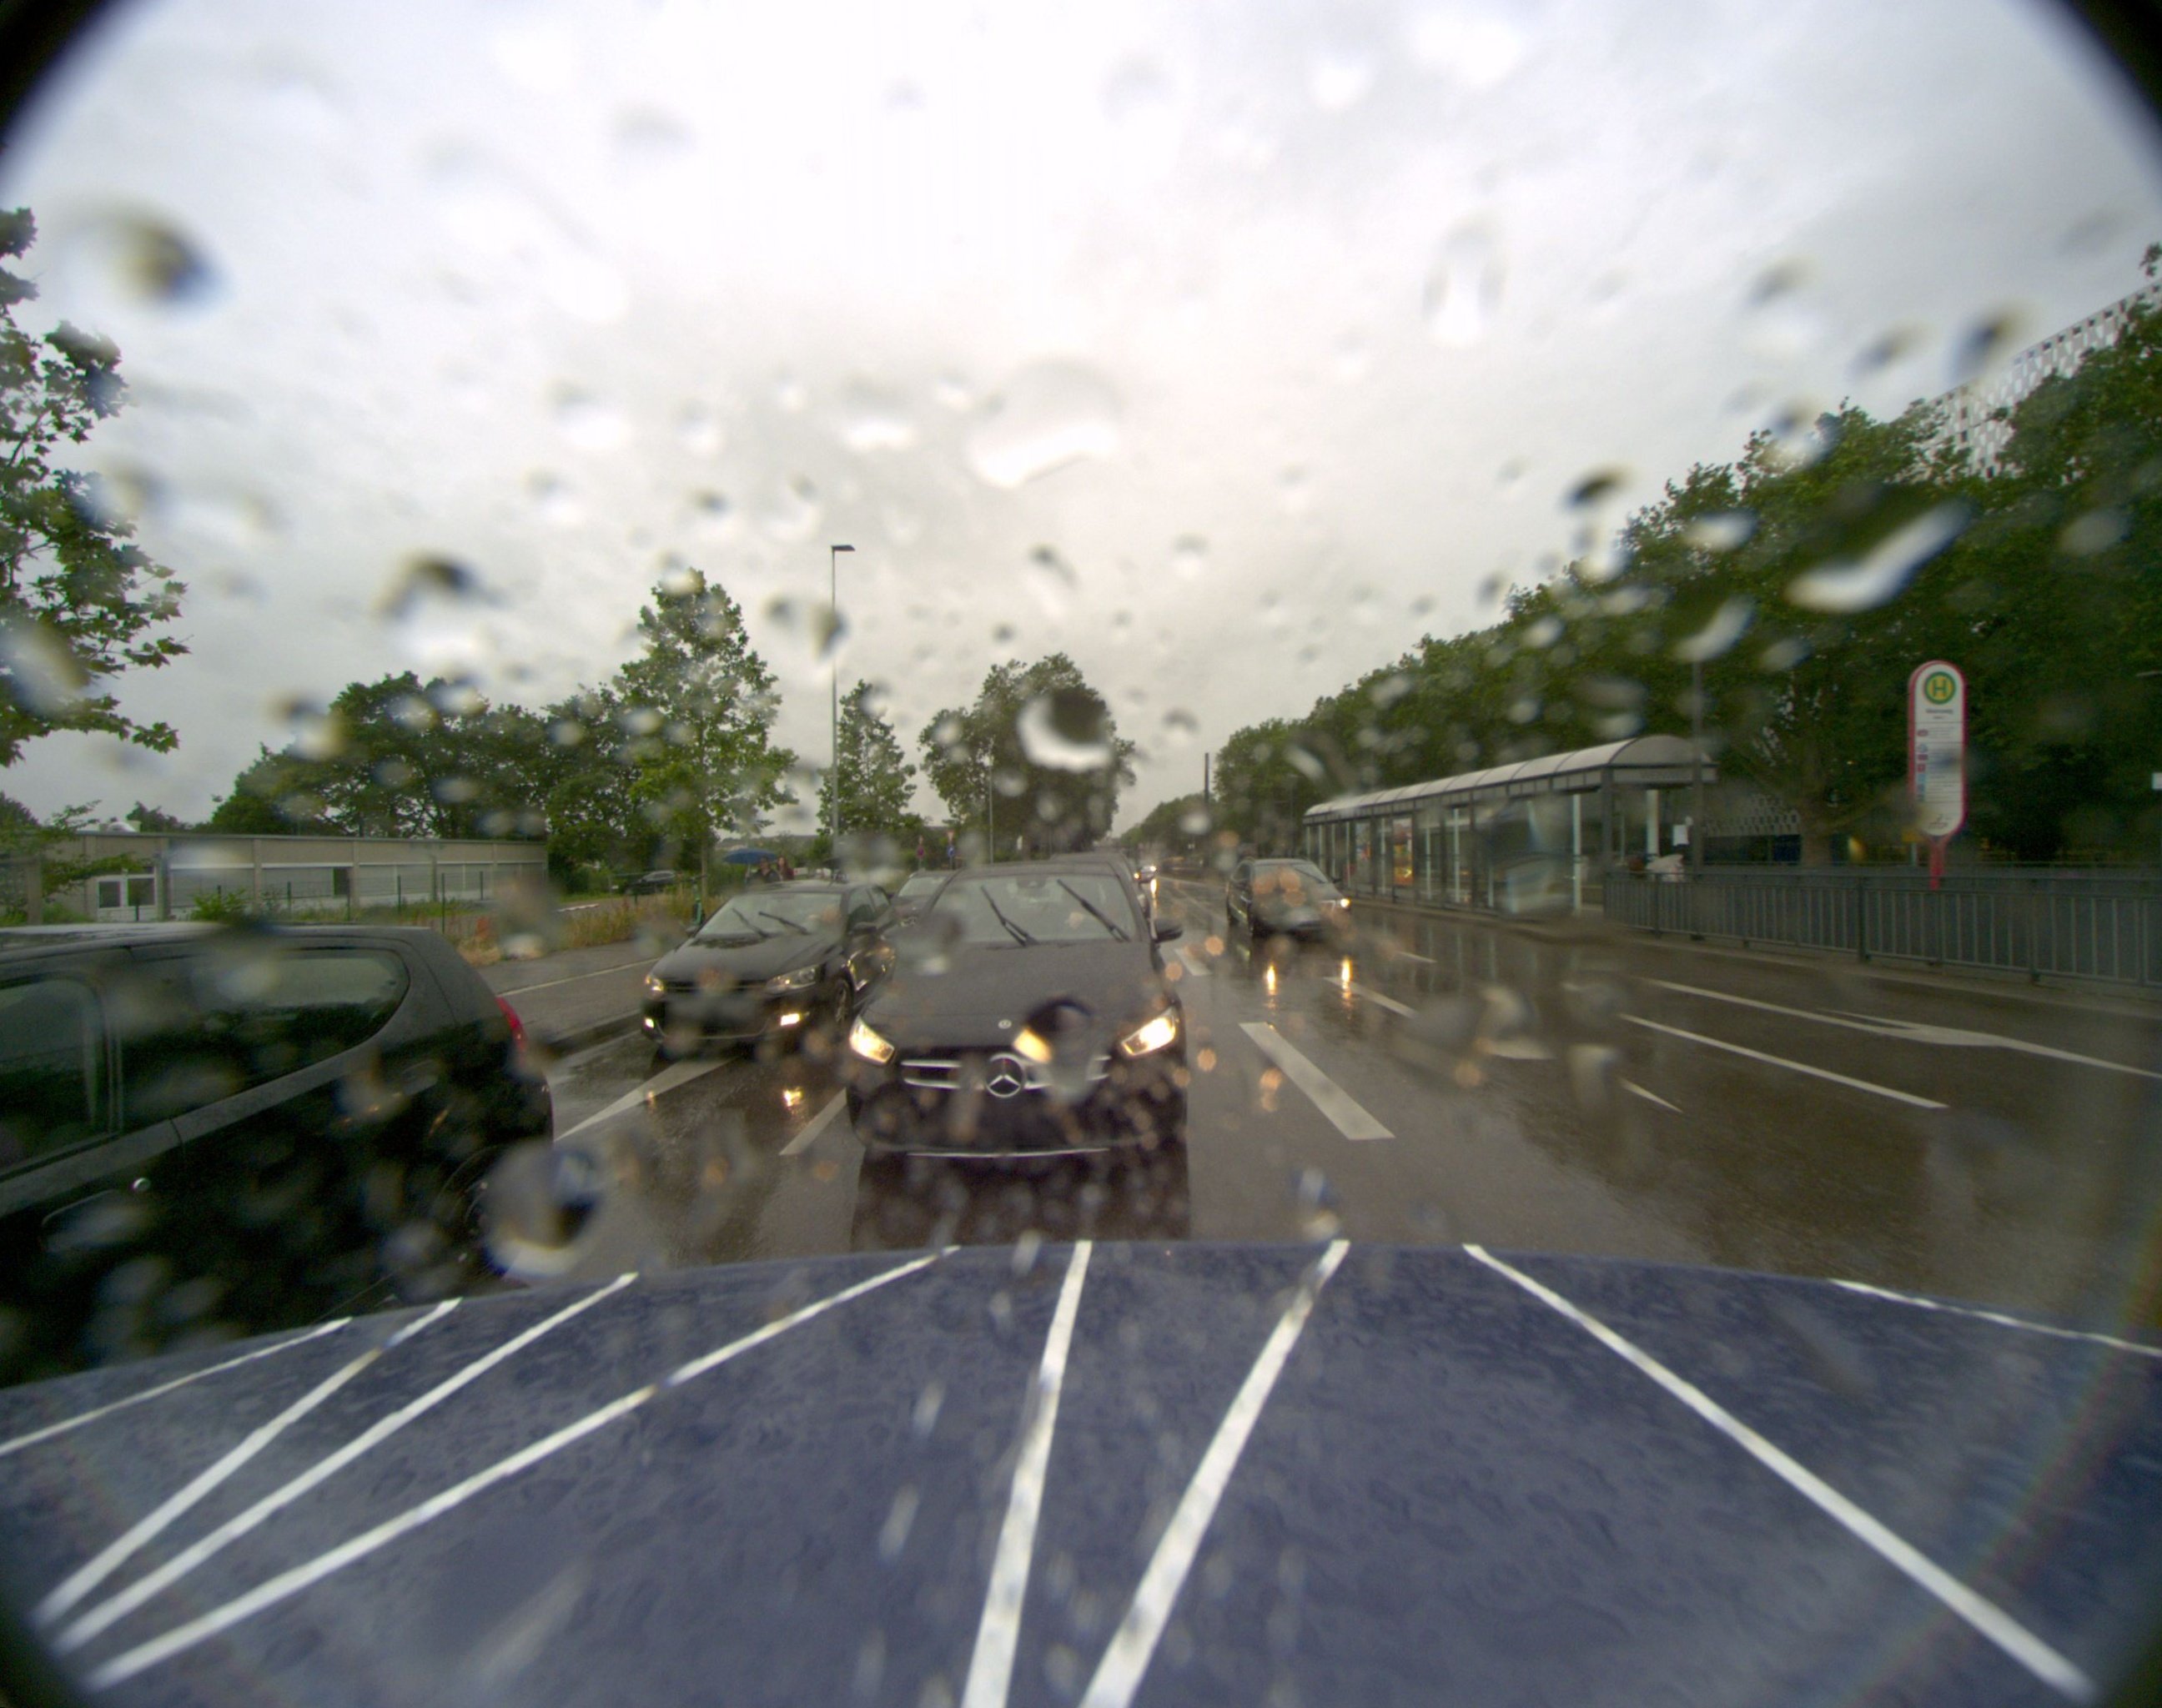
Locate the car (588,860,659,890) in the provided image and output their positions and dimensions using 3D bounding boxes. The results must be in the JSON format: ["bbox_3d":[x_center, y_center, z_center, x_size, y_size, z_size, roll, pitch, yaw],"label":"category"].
[{"bbox_3d":[-33.964,1.517,56.521,3.996,2.002,2.000,-2,1,2],"label":"car"}]

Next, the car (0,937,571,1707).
[{"bbox_3d":[-3.008,1.088,1.415,1.633,1.420,3.624,-2,0,0],"label":"car"}]

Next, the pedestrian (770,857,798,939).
[{"bbox_3d":[-6.112,0.900,15.622,0.401,1.652,0.441,1,1,0],"label":"pedestrian"}]

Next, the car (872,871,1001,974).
[{"bbox_3d":[-2.668,1.217,14.926,1.698,1.565,3.813,-2,1,1],"label":"car"}]

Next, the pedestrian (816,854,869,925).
[{"bbox_3d":[-5.947,0.871,19.002,1.025,1.698,0.891,1,1,0],"label":"pedestrian"}]

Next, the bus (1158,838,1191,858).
[{"bbox_3d":[16.287,-1.072,133.220,2.939,3.310,15.056,-2,1,-3],"label":"bus"}]

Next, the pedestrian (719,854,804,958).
[{"bbox_3d":[-5.577,0.881,13.341,1.082,1.746,0.969,0,1,0],"label":"pedestrian"}]

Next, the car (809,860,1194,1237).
[{"bbox_3d":[-0.332,0.908,5.533,1.690,1.578,4.163,-2,1,1],"label":"car"}]

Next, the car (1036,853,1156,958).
[{"bbox_3d":[0.205,0.731,12.461,1.633,1.420,3.624,-2,0,0],"label":"car"}]

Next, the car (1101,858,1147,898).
[{"bbox_3d":[1.913,1.050,34.915,1.794,1.597,3.999,-2,1,0],"label":"car"}]

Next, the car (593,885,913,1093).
[{"bbox_3d":[-2.945,1.121,7.710,1.633,1.420,3.624,-2,0,0],"label":"car"}]

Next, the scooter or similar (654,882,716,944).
[{"bbox_3d":[-8.209,1.189,15.812,0.381,1.123,1.777,0,1,-1],"label":"scooter or similar"}]

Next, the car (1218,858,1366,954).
[{"bbox_3d":[3.953,0.885,15.040,1.775,1.492,4.597,-2,1,2],"label":"car"}]

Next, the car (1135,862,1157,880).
[{"bbox_3d":[6.606,1.712,77.749,1.794,1.597,3.999,-2,1,0],"label":"car"}]

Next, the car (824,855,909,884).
[{"bbox_3d":[-13.489,0.968,48.098,4.759,1.640,1.999,-2,1,-2],"label":"car"}]

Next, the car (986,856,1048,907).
[{"bbox_3d":[-2.063,0.853,25.403,1.703,1.461,4.121,-2,1,0],"label":"car"}]
